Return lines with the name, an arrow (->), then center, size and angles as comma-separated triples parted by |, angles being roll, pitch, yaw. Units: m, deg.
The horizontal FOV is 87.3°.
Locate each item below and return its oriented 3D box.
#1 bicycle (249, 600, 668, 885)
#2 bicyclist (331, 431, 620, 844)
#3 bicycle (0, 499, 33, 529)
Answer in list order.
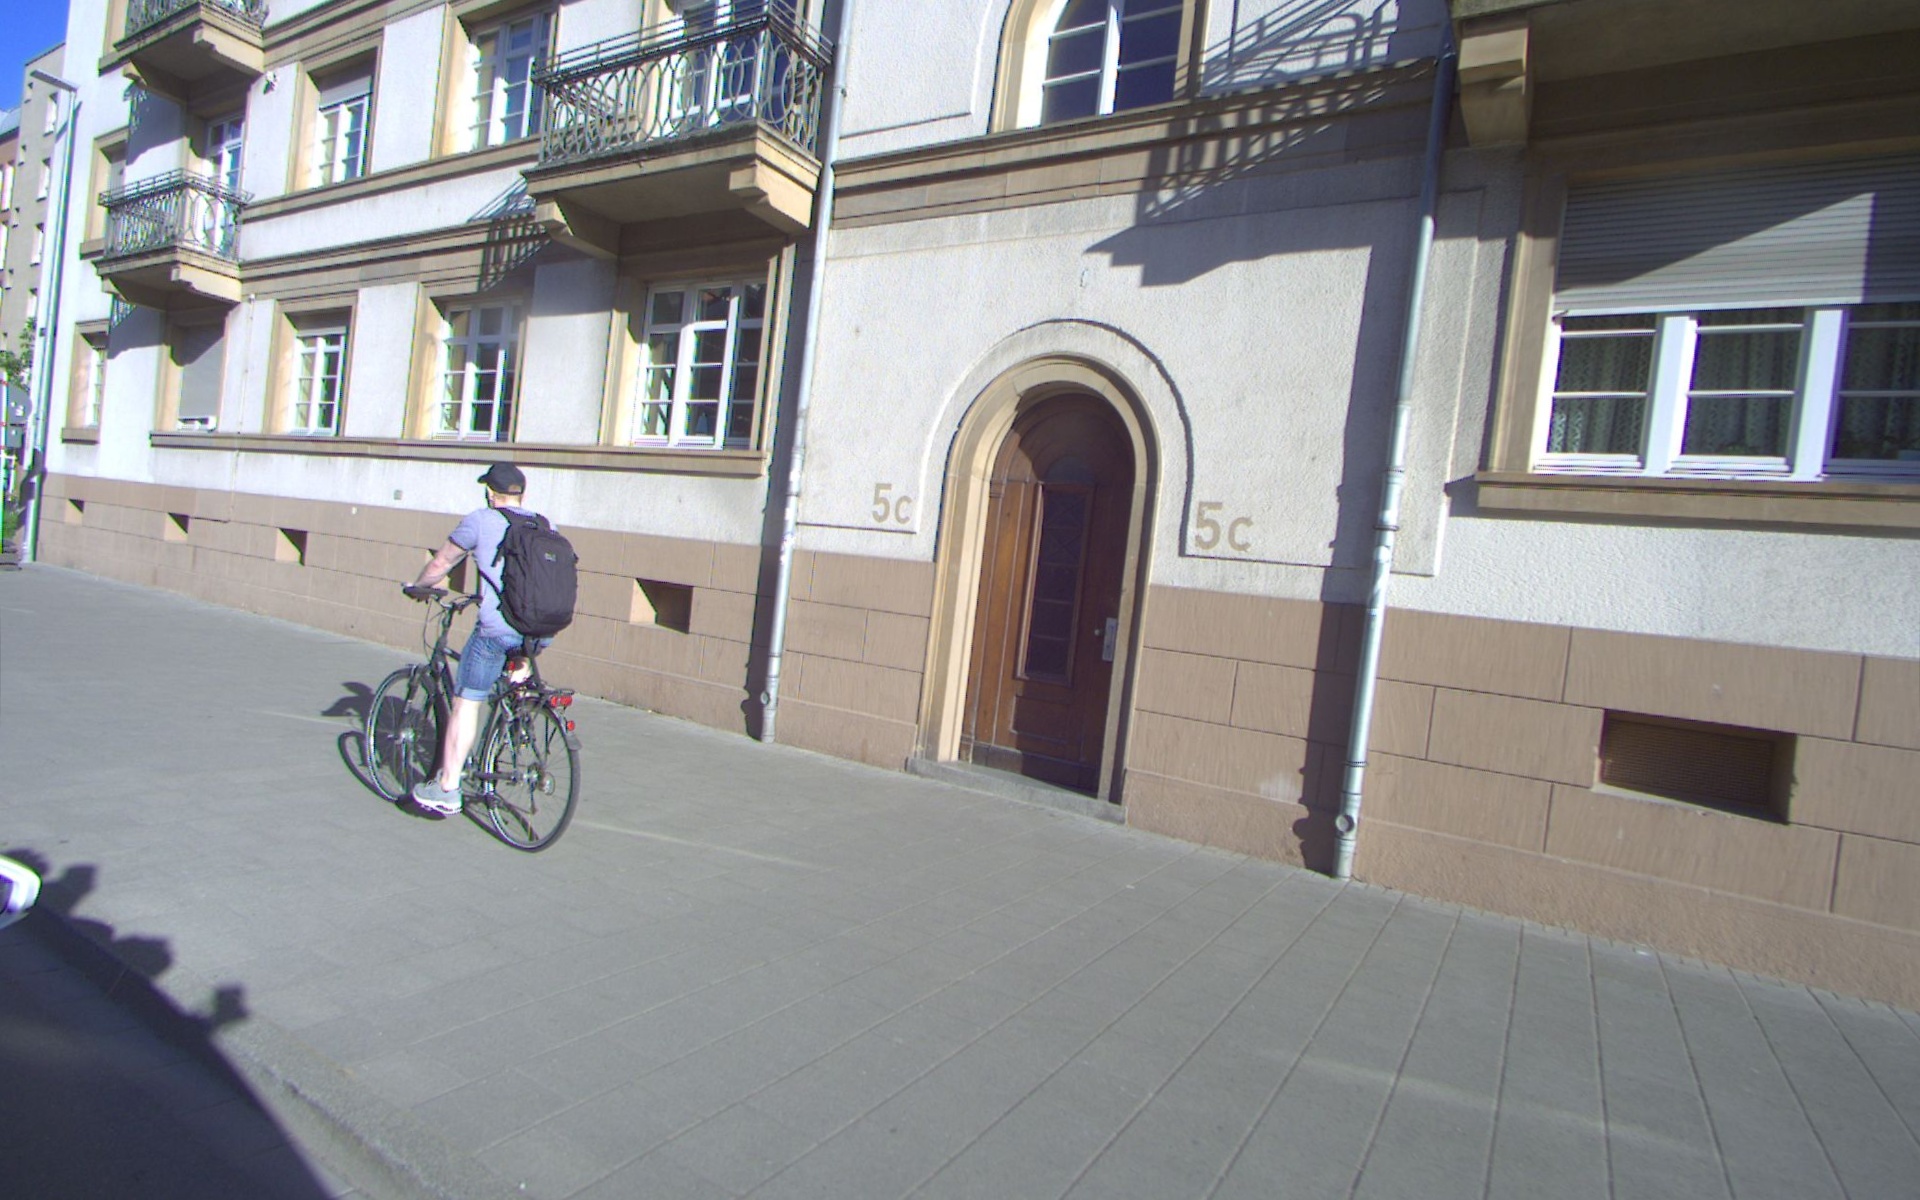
bicycle -> -2.539, 0.607, 4.991 | 2.161, 0.965, 0.768 | 7, 0, 31
bicyclist -> -2.348, 0.149, 4.888 | 0.922, 1.785, 0.733 | 7, 1, 31
bicycle -> -42.131, -3.827, 44.913 | 1.510, 1.185, 0.614 | 7, 2, 29
